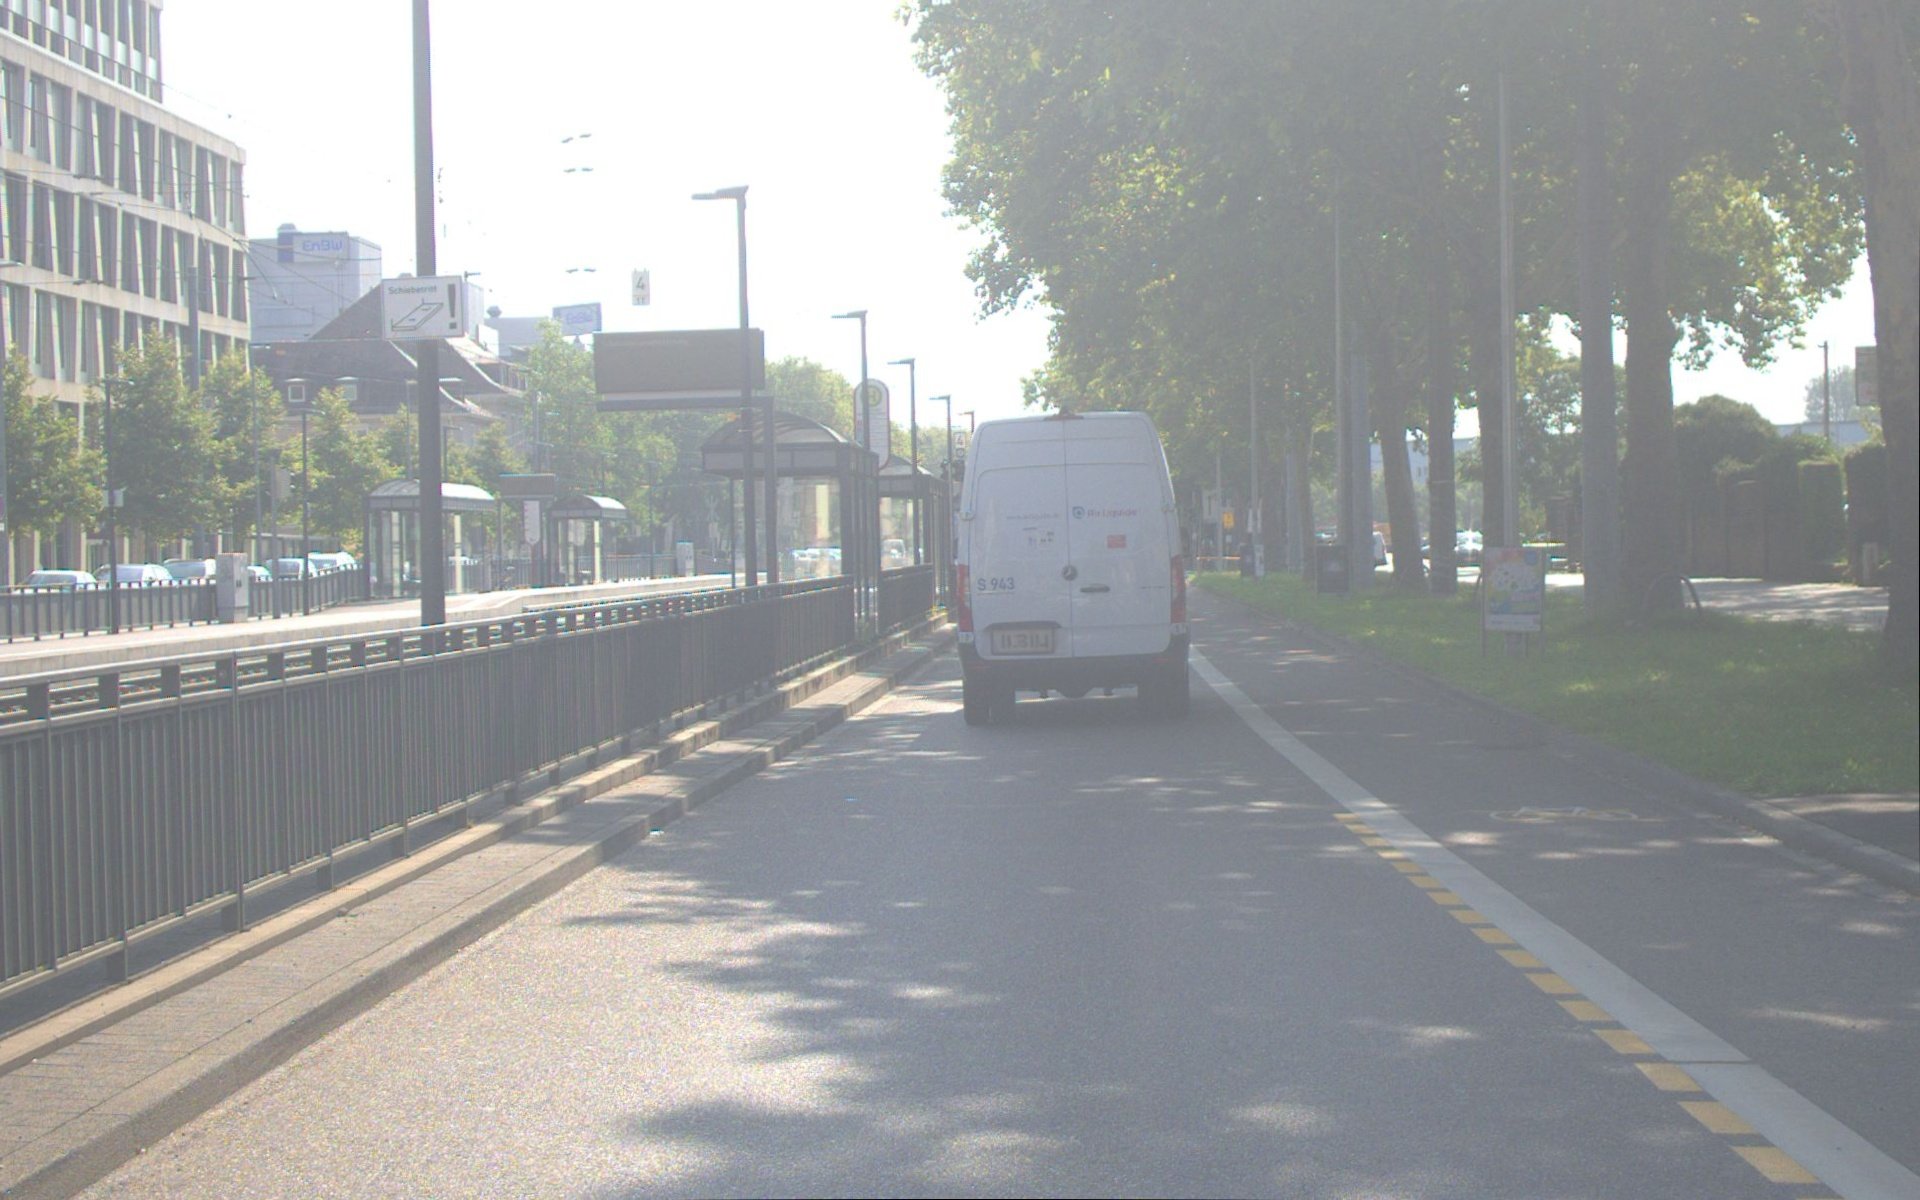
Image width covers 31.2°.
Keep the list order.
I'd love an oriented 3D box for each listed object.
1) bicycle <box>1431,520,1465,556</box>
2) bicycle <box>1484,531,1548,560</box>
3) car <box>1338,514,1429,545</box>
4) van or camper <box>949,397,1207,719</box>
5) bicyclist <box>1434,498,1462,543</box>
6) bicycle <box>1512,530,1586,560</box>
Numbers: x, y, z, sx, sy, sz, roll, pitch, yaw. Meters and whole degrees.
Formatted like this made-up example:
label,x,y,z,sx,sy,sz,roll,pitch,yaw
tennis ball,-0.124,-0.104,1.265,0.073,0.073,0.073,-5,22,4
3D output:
label,x,y,z,sx,sy,sz,roll,pitch,yaw
bicycle,14.146,-1.800,99.613,0.681,1.001,2.218,-2,1,1
bicycle,17.603,-1.726,108.823,1.932,0.844,0.372,-2,1,3
car,19.600,-3.258,159.196,3.987,1.371,2.000,0,0,2
van or camper,0.973,-0.401,31.187,2.115,2.673,5.251,0,1,0
bicyclist,14.114,-2.287,99.490,0.669,1.272,0.728,-2,1,1
bicycle,18.174,-1.690,106.129,2.180,0.844,0.503,-2,1,3
